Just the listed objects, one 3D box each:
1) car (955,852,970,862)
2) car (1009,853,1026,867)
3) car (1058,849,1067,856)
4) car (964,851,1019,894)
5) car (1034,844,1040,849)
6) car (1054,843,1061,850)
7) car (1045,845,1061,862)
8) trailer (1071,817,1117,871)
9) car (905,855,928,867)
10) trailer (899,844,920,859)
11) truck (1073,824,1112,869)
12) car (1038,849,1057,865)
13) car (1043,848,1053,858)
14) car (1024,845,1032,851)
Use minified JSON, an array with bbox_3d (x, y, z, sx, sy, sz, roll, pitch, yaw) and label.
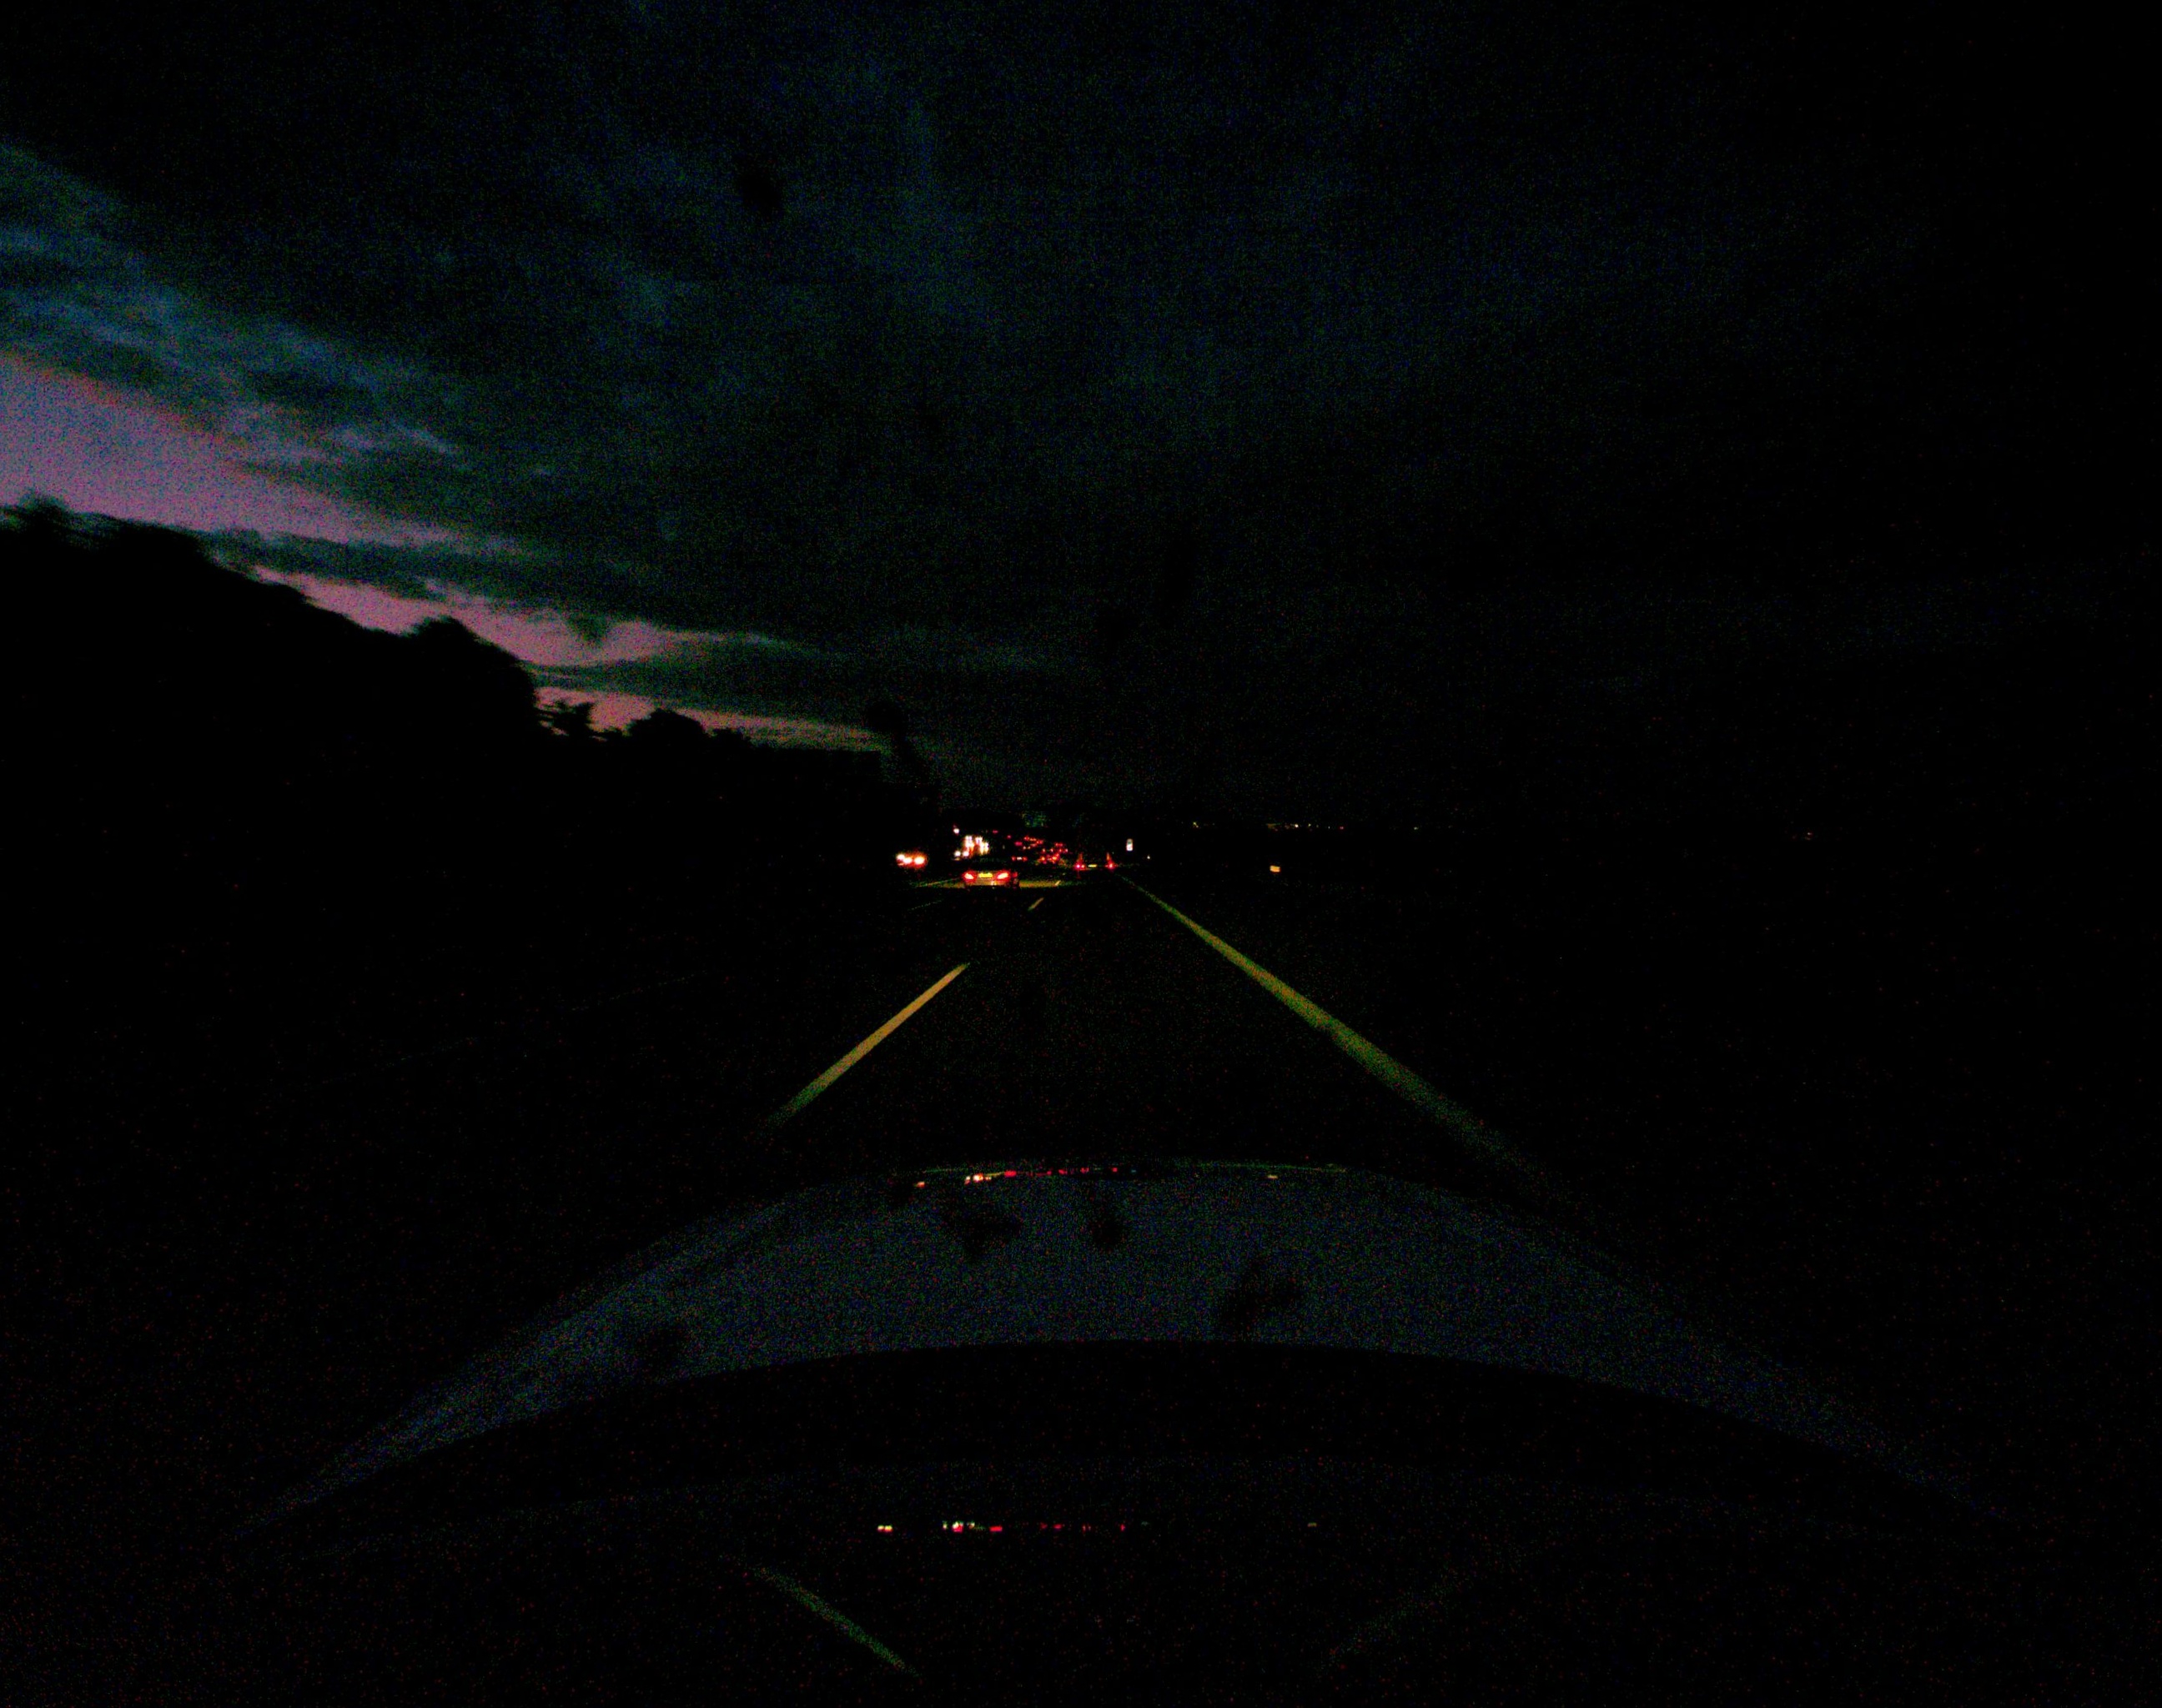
[{"bbox_3d":[-21.237,0.516,145.711,1.907,1.867,6.011,0,0,-1],"label":"car"},{"bbox_3d":[-7.728,0.723,99.770,1.756,1.575,4.576,0,0,0],"label":"car"},{"bbox_3d":[-3.979,-0.325,175.329,1.989,1.534,3.996,0,0,-2],"label":"car"},{"bbox_3d":[-3.537,0.690,32.832,1.902,1.614,4.798,0,0,-3],"label":"car"},{"bbox_3d":[-13.860,-2.253,256.360,1.991,1.622,3.992,0,0,-5],"label":"car"},{"bbox_3d":[-6.783,-2.136,237.110,1.990,1.978,3.994,0,0,-4],"label":"car"},{"bbox_3d":[-3.795,-0.074,111.169,1.986,2.380,4.001,0,0,1],"label":"car"},{"bbox_3d":[1.024,-0.704,70.498,3.539,4.116,15.059,0,-1,0],"label":"trailer"},{"bbox_3d":[-19.192,0.757,95.114,1.684,1.354,4.897,0,0,0],"label":"car"},{"bbox_3d":[-24.071,-0.327,114.232,1.906,2.002,4.240,1,0,0],"label":"trailer"},{"bbox_3d":[1.021,-0.646,76.858,3.540,4.091,6.148,0,-1,-1],"label":"truck"},{"bbox_3d":[-3.758,0.345,91.525,2.060,1.686,4.573,0,0,-2],"label":"car"},{"bbox_3d":[-6.769,-0.207,168.535,1.989,2.014,3.995,0,0,-4],"label":"car"},{"bbox_3d":[-14.167,-1.560,217.400,1.989,1.622,3.996,0,0,-2],"label":"car"}]
